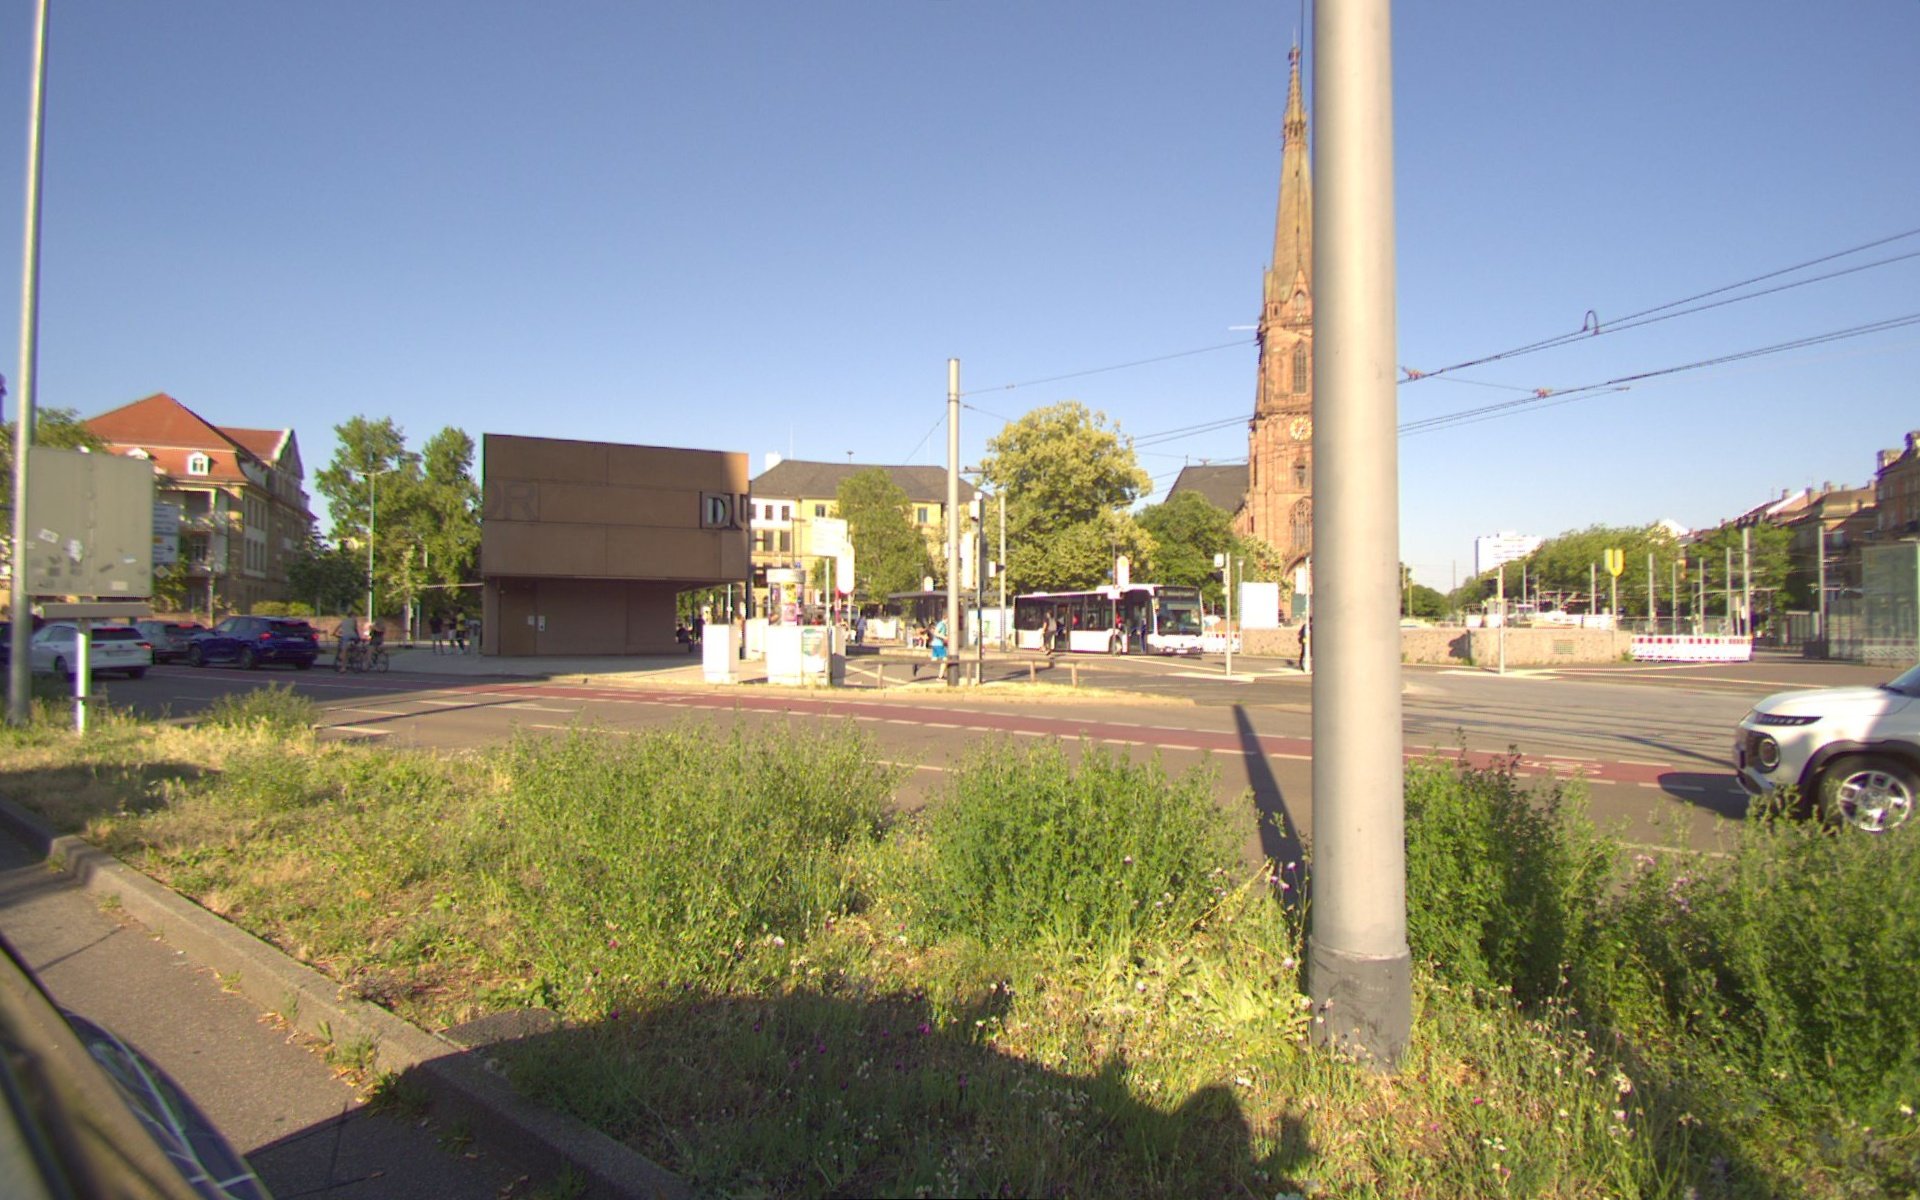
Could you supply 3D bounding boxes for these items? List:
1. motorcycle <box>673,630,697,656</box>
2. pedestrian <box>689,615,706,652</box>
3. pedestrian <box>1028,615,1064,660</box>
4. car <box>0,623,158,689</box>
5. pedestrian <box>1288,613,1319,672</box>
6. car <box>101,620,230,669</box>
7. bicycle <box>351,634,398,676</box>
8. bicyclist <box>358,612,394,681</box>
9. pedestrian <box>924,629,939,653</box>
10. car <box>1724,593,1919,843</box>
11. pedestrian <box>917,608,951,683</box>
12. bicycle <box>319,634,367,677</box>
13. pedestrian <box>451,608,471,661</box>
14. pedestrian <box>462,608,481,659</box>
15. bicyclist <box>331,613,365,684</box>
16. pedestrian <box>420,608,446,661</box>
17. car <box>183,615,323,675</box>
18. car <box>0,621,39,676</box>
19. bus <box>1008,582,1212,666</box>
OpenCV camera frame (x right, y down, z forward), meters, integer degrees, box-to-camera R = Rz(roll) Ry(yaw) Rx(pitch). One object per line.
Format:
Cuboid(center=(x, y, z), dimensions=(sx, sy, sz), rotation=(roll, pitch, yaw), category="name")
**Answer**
Cuboid(center=(-11.645, 1.809, 42.890), dimensions=(0.935, 1.075, 0.331), rotation=(0, 0, -12), category="motorcycle")
Cuboid(center=(-14.678, 1.848, 56.607), dimensions=(0.761, 2.029, 0.779), rotation=(0, 0, -2), category="pedestrian")
Cuboid(center=(3.319, 1.426, 39.120), dimensions=(1.025, 1.696, 1.007), rotation=(0, 0, -26), category="pedestrian")
Cuboid(center=(-22.865, 1.382, 26.180), dimensions=(4.374, 1.503, 1.832), rotation=(0, 0, 30), category="car")
Cuboid(center=(10.550, 1.283, 31.100), dimensions=(0.702, 1.771, 0.584), rotation=(0, 0, -31), category="pedestrian")
Cuboid(center=(-26.506, 1.467, 33.746), dimensions=(4.374, 1.503, 1.831), rotation=(0, -3, 30), category="car")
Cuboid(center=(-17.252, 1.601, 29.815), dimensions=(1.388, 1.201, 0.461), rotation=(0, 0, 23), category="bicycle")
Cuboid(center=(-17.244, 1.364, 29.867), dimensions=(0.705, 2.029, 0.605), rotation=(-1, -2, 25), category="bicyclist")
Cuboid(center=(-1.438, 2.065, 51.062), dimensions=(0.531, 1.196, 0.660), rotation=(0, 0, -22), category="pedestrian")
Cuboid(center=(7.823, 0.787, 6.952), dimensions=(3.989, 1.674, 1.766), rotation=(0, 0, 34), category="car")
Cuboid(center=(-0.681, 1.167, 26.033), dimensions=(0.787, 1.911, 0.612), rotation=(0, -2, -10), category="pedestrian")
Cuboid(center=(-17.892, 1.608, 29.355), dimensions=(1.388, 1.201, 0.461), rotation=(0, 0, 23), category="bicycle")
Cuboid(center=(-19.394, 1.327, 39.350), dimensions=(0.645, 2.029, 0.470), rotation=(0, 0, -30), category="pedestrian")
Cuboid(center=(-19.489, 1.325, 40.403), dimensions=(0.645, 2.029, 0.470), rotation=(0, 0, -30), category="pedestrian")
Cuboid(center=(-17.717, 1.383, 29.292), dimensions=(0.562, 2.029, 0.605), rotation=(-1, -2, 24), category="bicyclist")
Cuboid(center=(-20.411, 1.327, 39.198), dimensions=(0.766, 2.029, 0.774), rotation=(0, 0, -37), category="pedestrian")
Cuboid(center=(-21.524, 1.325, 30.799), dimensions=(4.167, 1.703, 1.741), rotation=(0, -1, 27), category="car")
Cuboid(center=(-28.434, 1.384, 29.195), dimensions=(4.176, 1.470, 1.737), rotation=(0, 0, 33), category="car")
Cuboid(center=(6.047, 0.896, 44.267), dimensions=(2.655, 3.174, 12.216), rotation=(-1, 0, -24), category="bus")
